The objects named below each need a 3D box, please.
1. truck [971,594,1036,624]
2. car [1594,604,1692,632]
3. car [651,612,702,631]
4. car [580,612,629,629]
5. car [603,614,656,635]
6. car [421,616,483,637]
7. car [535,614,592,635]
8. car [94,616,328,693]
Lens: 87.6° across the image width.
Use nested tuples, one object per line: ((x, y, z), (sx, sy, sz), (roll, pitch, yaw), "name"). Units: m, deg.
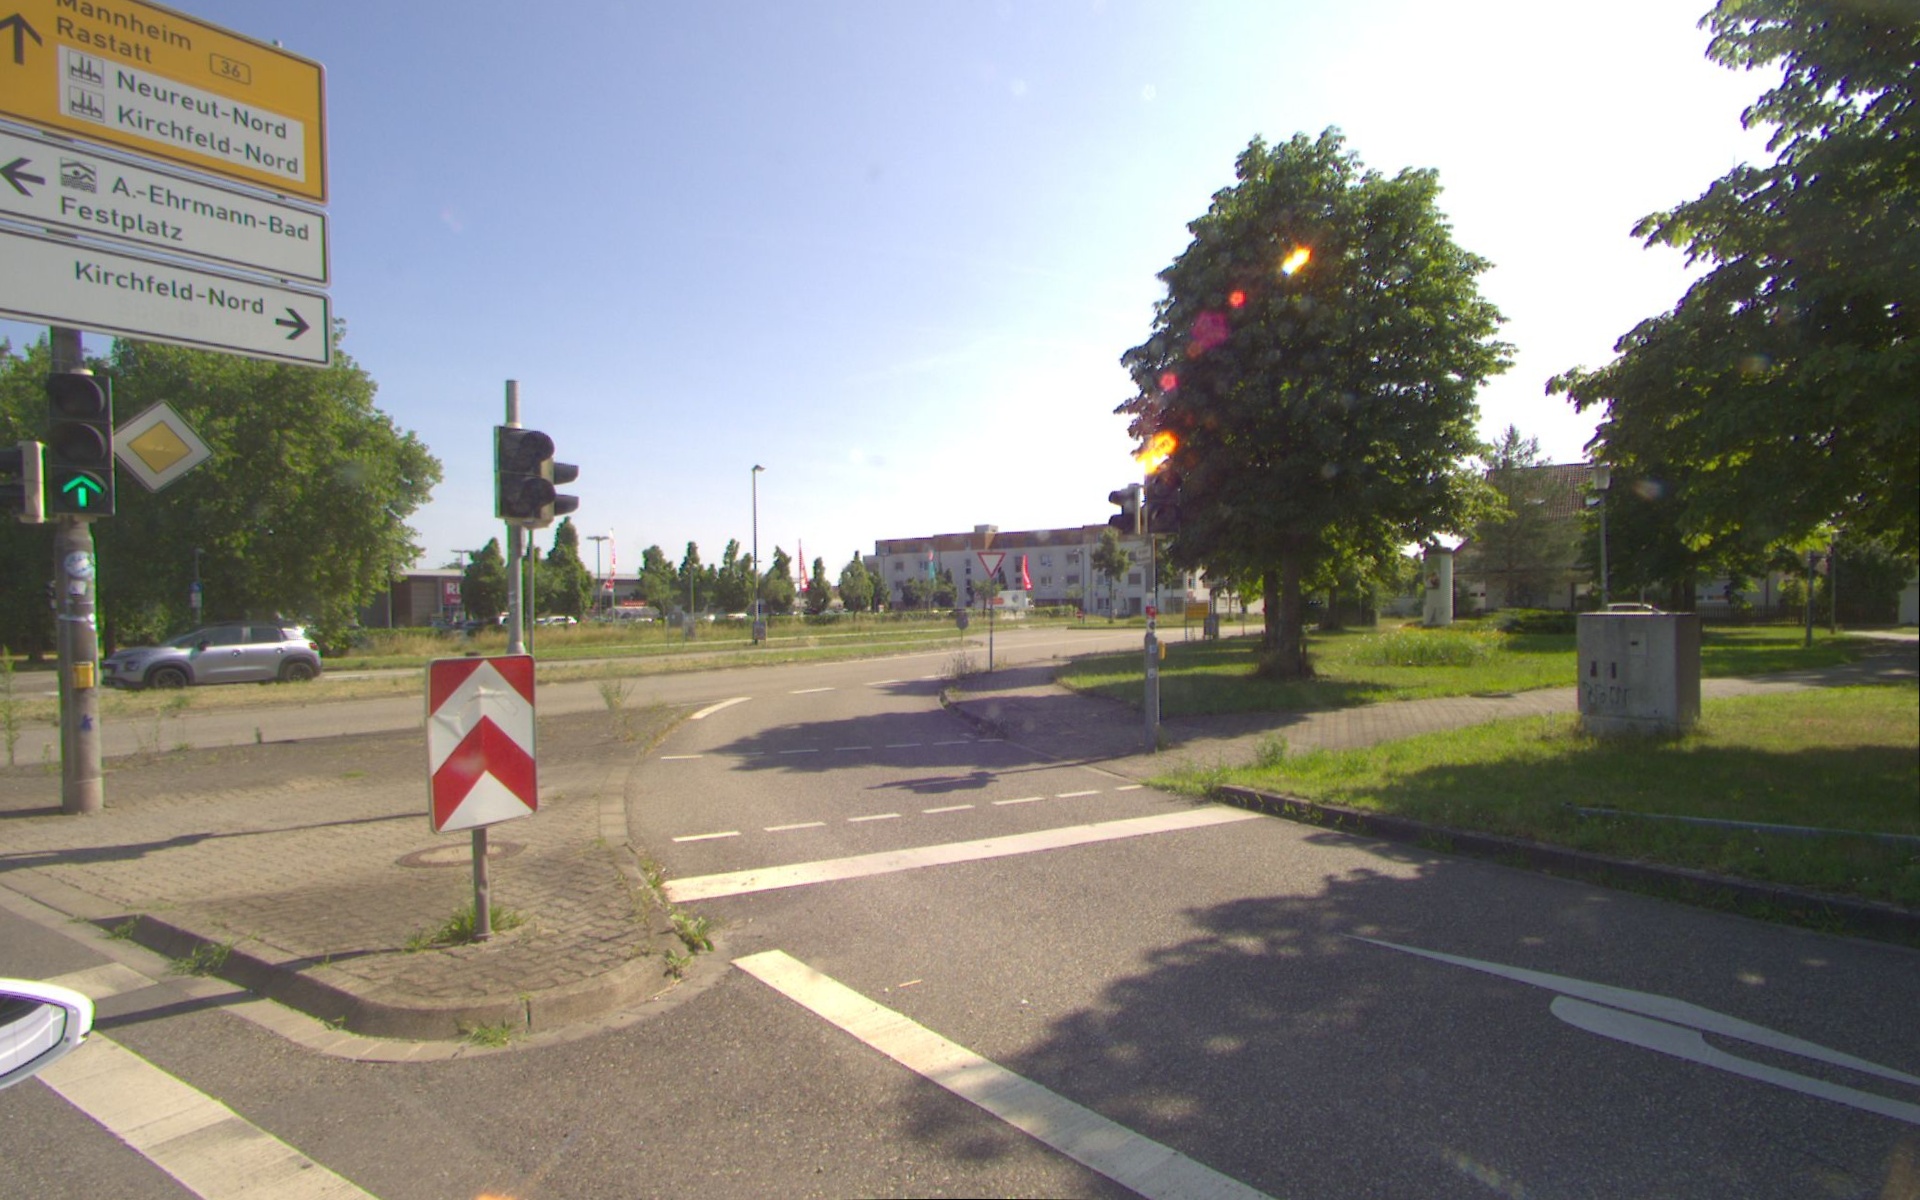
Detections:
((5.443, 1.053, 123.857), (8.145, 3.592, 2.616), (0, 0, -34), "truck")
((33.945, 0.897, 49.826), (3.947, 1.305, 1.722), (-1, -1, 35), "car")
((-27.871, 2.060, 98.504), (4.448, 1.773, 1.975), (0, 0, -34), "car")
((-37.898, 2.180, 106.795), (1.968, 1.773, 4.465), (-1, -1, 45), "car")
((-28.956, 2.144, 87.715), (1.978, 1.750, 3.967), (-1, 0, 41), "car")
((-45.116, 2.327, 89.027), (1.963, 1.773, 4.474), (-1, -1, 39), "car")
((-36.298, 2.240, 91.656), (1.963, 1.773, 4.474), (-1, -1, 39), "car")
((-17.360, 1.205, 23.405), (1.718, 1.584, 4.042), (-1, 0, 33), "car")
